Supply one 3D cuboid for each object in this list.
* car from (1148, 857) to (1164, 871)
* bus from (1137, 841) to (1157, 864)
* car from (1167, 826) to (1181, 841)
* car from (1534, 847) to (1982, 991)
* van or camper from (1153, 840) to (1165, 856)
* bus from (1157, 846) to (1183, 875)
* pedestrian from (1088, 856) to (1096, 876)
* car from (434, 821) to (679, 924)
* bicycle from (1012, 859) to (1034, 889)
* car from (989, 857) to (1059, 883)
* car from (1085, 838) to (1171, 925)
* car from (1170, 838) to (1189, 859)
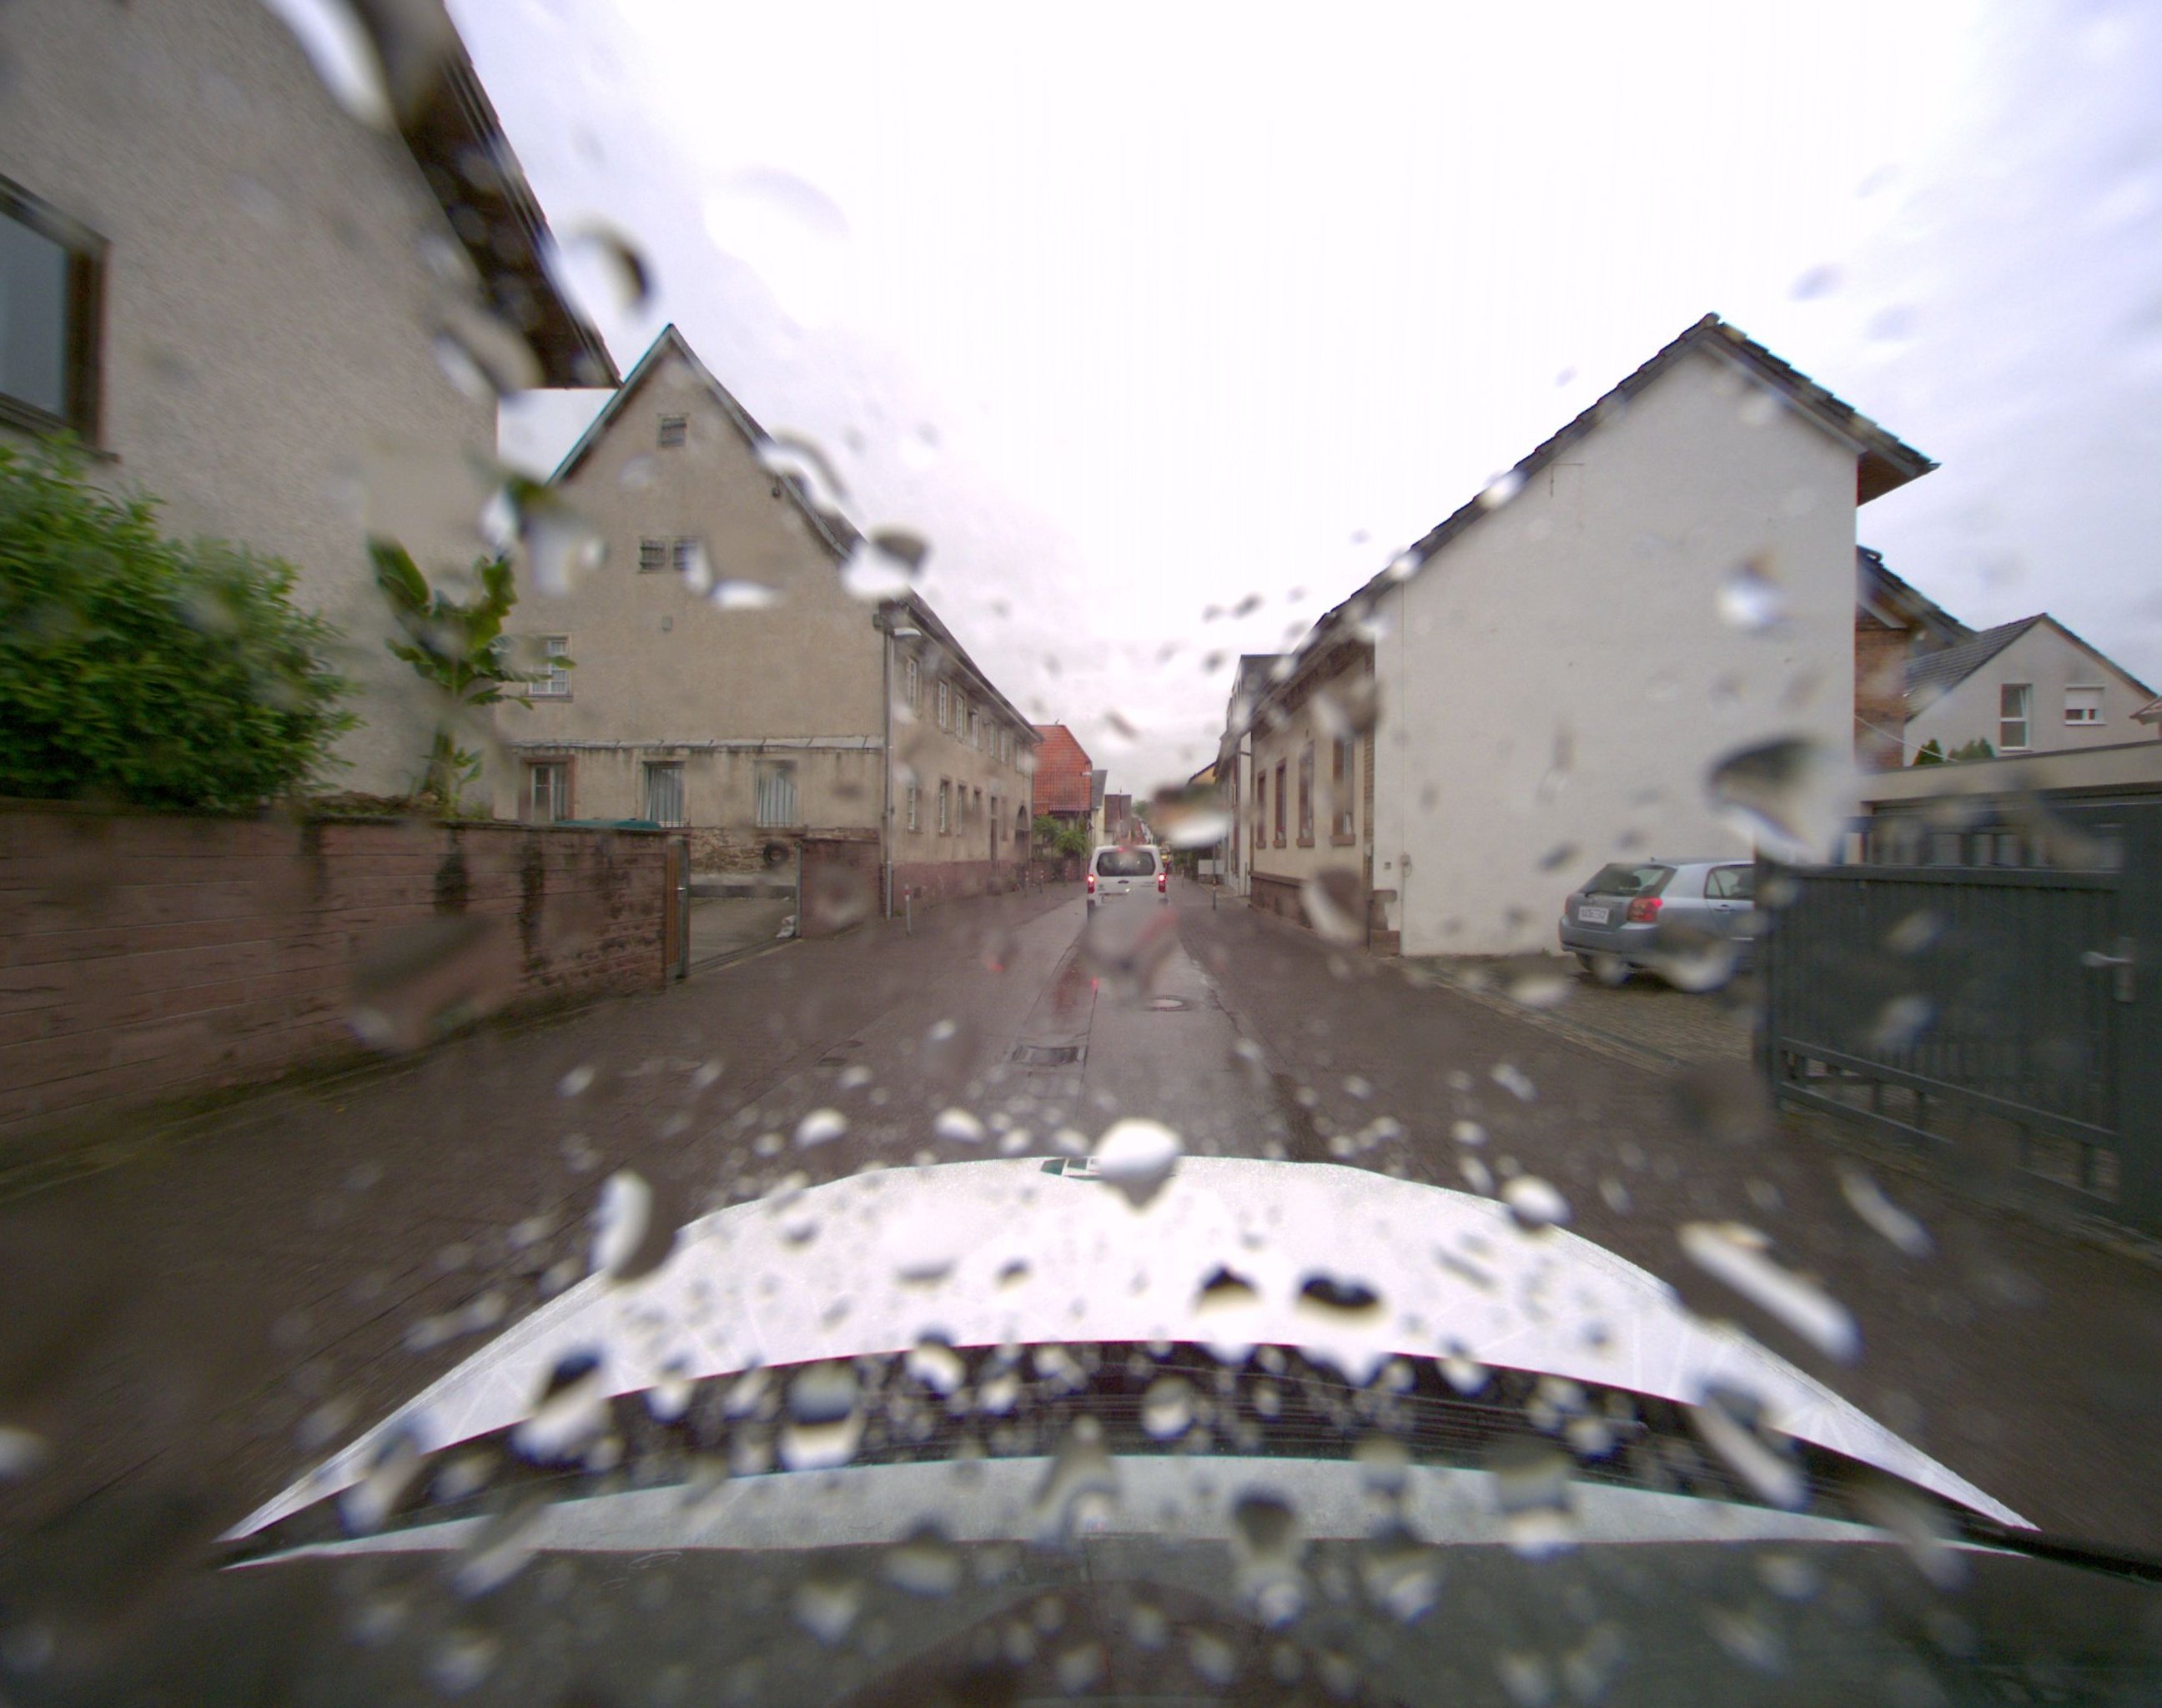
[{"bbox_3d":[7.830,1.006,84.517,1.554,1.371,3.591,1,-1,6],"label":"car"},{"bbox_3d":[10.133,-0.142,124.312,2.780,3.329,8.190,2,-1,6],"label":"bus"},{"bbox_3d":[13.972,-3.118,122.469,1.983,2.014,4.007,1,-1,7],"label":"car"},{"bbox_3d":[7.832,0.715,9.697,3.886,1.498,1.850,1,-1,-2],"label":"car"},{"bbox_3d":[14.595,-1.119,152.187,1.825,2.926,5.373,1,-1,7],"label":"van or camper"},{"bbox_3d":[10.364,0.807,95.592,2.780,3.180,8.190,2,-1,6],"label":"bus"},{"bbox_3d":[0.833,0.935,63.150,0.566,1.530,0.568,-1,-1,-4],"label":"pedestrian"},{"bbox_3d":[-9.997,0.227,16.037,1.980,1.715,4.305,0,3,0],"label":"car"},{"bbox_3d":[-2.386,0.828,33.654,0.480,1.180,1.839,1,-1,7],"label":"bicycle"},{"bbox_3d":[-3.071,0.851,44.142,3.508,1.376,1.598,0,0,7],"label":"car"},{"bbox_3d":[1.212,0.623,19.358,1.786,1.819,4.108,-1,-1,6],"label":"car"},{"bbox_3d":[10.049,-0.539,83.502,1.818,2.014,3.699,1,-1,5],"label":"car"}]
